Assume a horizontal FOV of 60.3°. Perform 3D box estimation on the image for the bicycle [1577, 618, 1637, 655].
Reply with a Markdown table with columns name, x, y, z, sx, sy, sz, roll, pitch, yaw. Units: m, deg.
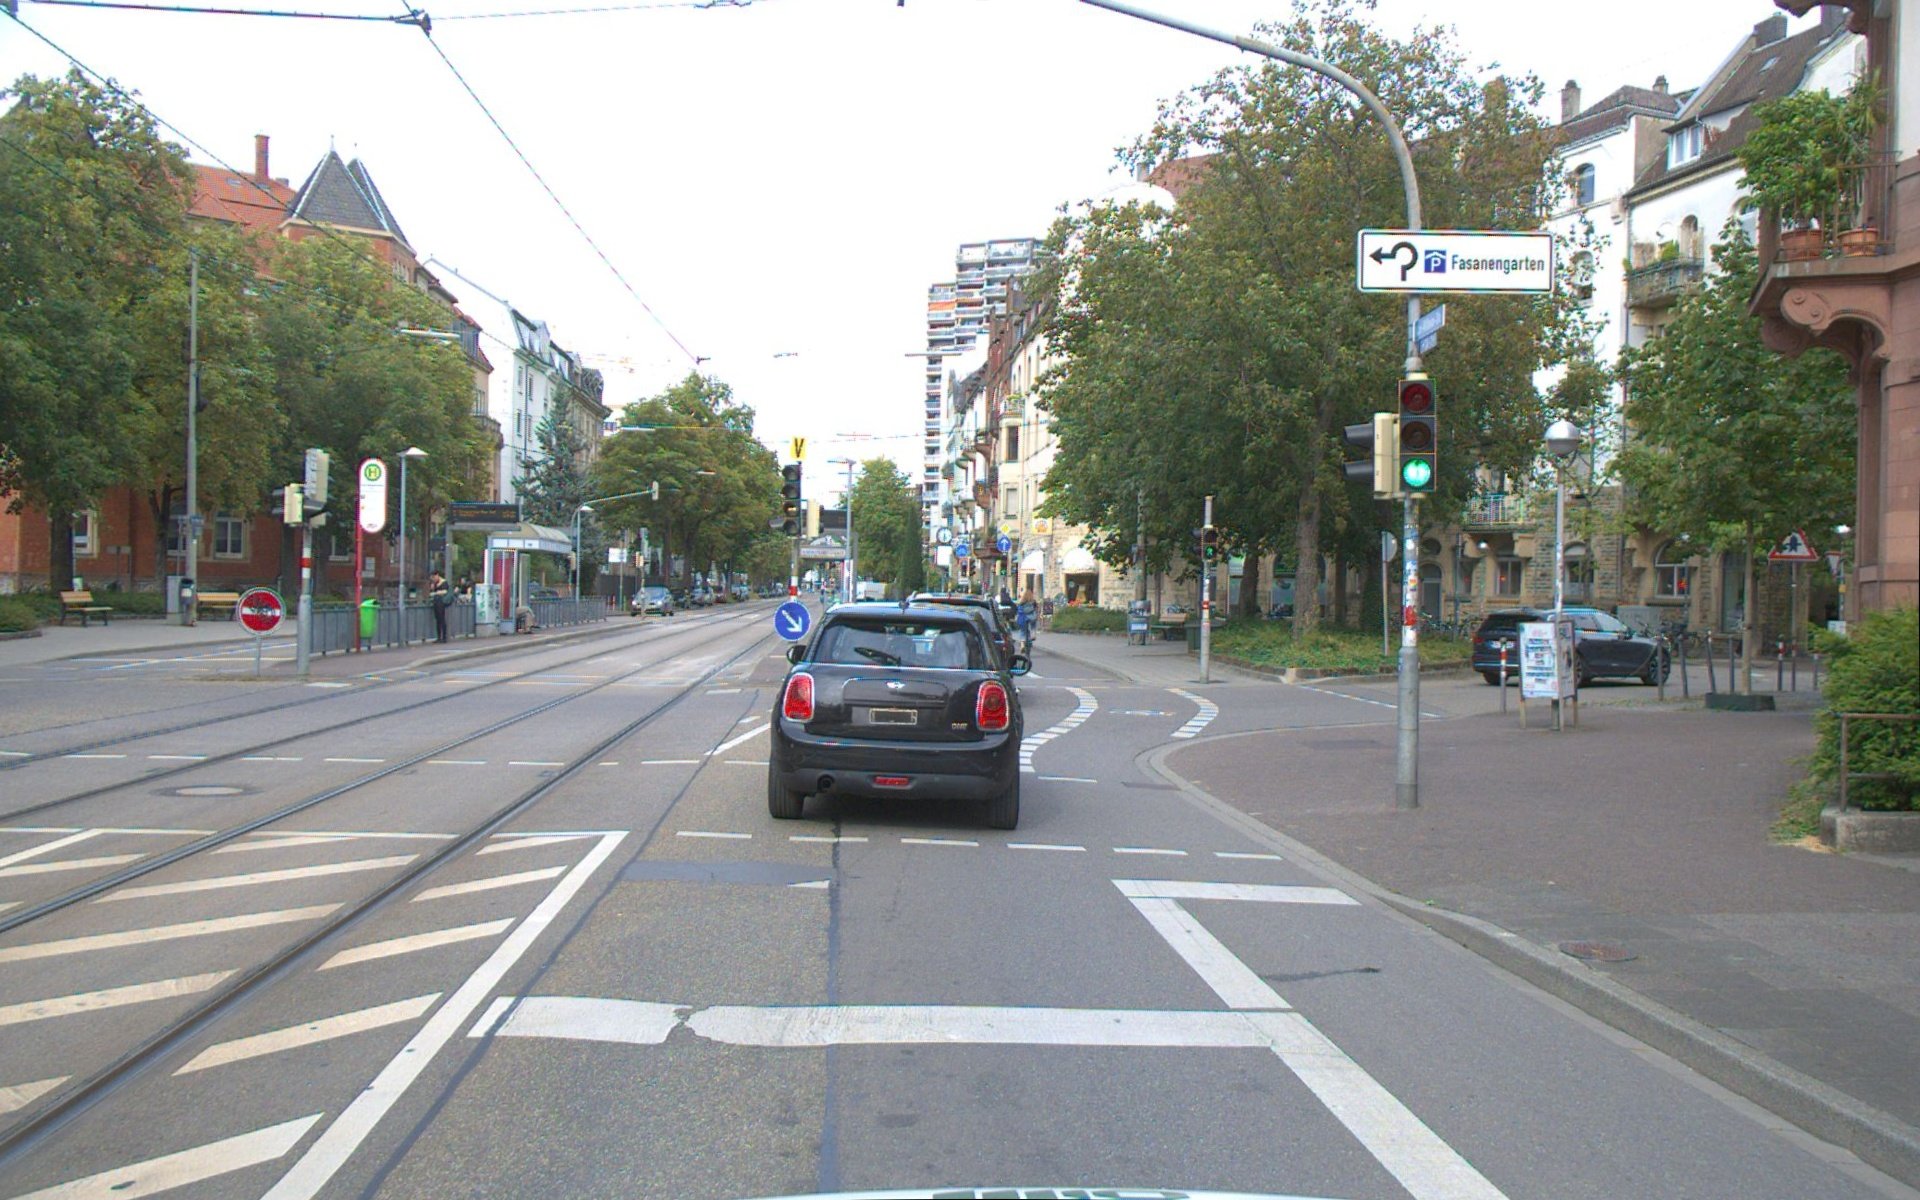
| name | x | y | z | sx | sy | sz | roll | pitch | yaw |
| --- | --- | --- | --- | --- | --- | --- | --- | --- | --- |
| bicycle | 20.908 | 1.174 | 53.460 | 1.856 | 1.147 | 0.530 | 1 | 0 | -16 |

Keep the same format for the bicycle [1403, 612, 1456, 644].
| name | x | y | z | sx | sy | sz | roll | pitch | yaw |
| --- | --- | --- | --- | --- | --- | --- | --- | --- | --- |
| bicycle | 17.526 | 1.039 | 61.767 | 1.855 | 1.147 | 0.597 | 1 | 0 | -13 |

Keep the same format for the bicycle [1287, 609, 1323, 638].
| name | x | y | z | sx | sy | sz | roll | pitch | yaw |
| --- | --- | --- | --- | --- | --- | --- | --- | --- | --- |
| bicycle | 13.891 | 0.935 | 66.506 | 0.654 | 1.147 | 1.885 | 1 | 0 | 38 |

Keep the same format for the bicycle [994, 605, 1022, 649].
| name | x | y | z | sx | sy | sz | roll | pitch | yaw |
| --- | --- | --- | --- | --- | --- | --- | --- | --- | --- |
| bicycle | 1.332 | 0.747 | 46.524 | 0.670 | 1.190 | 1.696 | 1 | 0 | -2 |

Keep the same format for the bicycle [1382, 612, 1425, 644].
| name | x | y | z | sx | sy | sz | roll | pitch | yaw |
| --- | --- | --- | --- | --- | --- | --- | --- | --- | --- |
| bicycle | 16.897 | 1.060 | 63.021 | 1.872 | 1.147 | 0.526 | -1 | 1 | -35 |

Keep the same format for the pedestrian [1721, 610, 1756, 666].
| name | x | y | z | sx | sy | sz | roll | pitch | yaw |
| --- | --- | --- | --- | --- | --- | --- | --- | --- | --- |
| pedestrian | 23.723 | 1.155 | 50.419 | 0.815 | 1.651 | 0.733 | 1 | 0 | 16 |

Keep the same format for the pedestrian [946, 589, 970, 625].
| name | x | y | z | sx | sy | sz | roll | pitch | yaw |
| --- | --- | --- | --- | --- | --- | --- | --- | --- | --- |
| pedestrian | -0.103 | 0.337 | 80.960 | 0.720 | 1.703 | 0.830 | -2 | 1 | 42 |

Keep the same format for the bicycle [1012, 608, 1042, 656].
| name | x | y | z | sx | sy | sz | roll | pitch | yaw |
| --- | --- | --- | --- | --- | --- | --- | --- | --- | --- |
| bicycle | 1.726 | 0.804 | 42.592 | 0.586 | 1.190 | 1.695 | 1 | 0 | -4 |

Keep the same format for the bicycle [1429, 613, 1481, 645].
| name | x | y | z | sx | sy | sz | roll | pitch | yaw |
| --- | --- | --- | --- | --- | --- | --- | --- | --- | --- |
| bicycle | 18.182 | 1.058 | 60.749 | 1.860 | 1.147 | 0.579 | 1 | 0 | -21 |

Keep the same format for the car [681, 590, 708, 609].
| name | x | y | z | sx | sy | sz | roll | pitch | yaw |
| --- | --- | --- | --- | --- | --- | --- | --- | --- | --- |
| car | -20.447 | -0.072 | 127.593 | 1.732 | 1.420 | 3.996 | 1 | 0 | -5 |

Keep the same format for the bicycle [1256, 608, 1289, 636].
| name | x | y | z | sx | sy | sz | roll | pitch | yaw |
| --- | --- | --- | --- | --- | --- | --- | --- | --- | --- |
| bicycle | 12.786 | 0.898 | 67.648 | 0.522 | 1.147 | 1.885 | 1 | 0 | 38 |

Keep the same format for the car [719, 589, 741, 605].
| name | x | y | z | sx | sy | sz | roll | pitch | yaw |
| --- | --- | --- | --- | --- | --- | --- | --- | --- | --- |
| car | -24.632 | -0.341 | 177.072 | 1.954 | 1.579 | 3.997 | 1 | 0 | -4 |

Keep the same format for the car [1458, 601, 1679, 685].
| name | x | y | z | sx | sy | sz | roll | pitch | yaw |
| --- | --- | --- | --- | --- | --- | --- | --- | --- | --- |
| car | 11.588 | 0.801 | 31.384 | 4.427 | 1.466 | 1.736 | 1 | 0 | -35 |

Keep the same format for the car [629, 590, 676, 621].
| name | x | y | z | sx | sy | sz | roll | pitch | yaw |
| --- | --- | --- | --- | --- | --- | --- | --- | --- | --- |
| car | -15.573 | 0.255 | 83.910 | 1.717 | 1.466 | 3.998 | 3 | 0 | -2 |

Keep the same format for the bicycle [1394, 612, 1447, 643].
| name | x | y | z | sx | sy | sz | roll | pitch | yaw |
| --- | --- | --- | --- | --- | --- | --- | --- | --- | --- |
| bicycle | 17.348 | 1.034 | 62.341 | 1.855 | 1.147 | 0.561 | 1 | 0 | -13 |

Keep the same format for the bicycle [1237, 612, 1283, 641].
| name | x | y | z | sx | sy | sz | roll | pitch | yaw |
| --- | --- | --- | --- | --- | --- | --- | --- | --- | --- |
| bicycle | 11.811 | 1.039 | 65.189 | 0.612 | 1.095 | 1.792 | 1 | 0 | -43 |

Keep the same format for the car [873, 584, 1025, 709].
| name | x | y | z | sx | sy | sz | roll | pitch | yaw |
| --- | --- | --- | --- | --- | --- | --- | --- | --- | --- |
| car | -0.136 | 0.573 | 22.688 | 1.887 | 1.536 | 4.000 | 1 | 0 | 0 |

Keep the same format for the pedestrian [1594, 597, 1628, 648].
| name | x | y | z | sx | sy | sz | roll | pitch | yaw |
| --- | --- | --- | --- | --- | --- | --- | --- | --- | --- |
| pedestrian | 22.235 | 0.756 | 56.489 | 0.717 | 1.705 | 0.833 | 1 | 0 | -11 |

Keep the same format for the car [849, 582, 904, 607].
| name | x | y | z | sx | sy | sz | roll | pitch | yaw |
| --- | --- | --- | --- | --- | --- | --- | --- | --- | --- |
| car | -8.113 | -0.499 | 160.851 | 5.002 | 2.312 | 2.358 | 1 | 0 | -45 |

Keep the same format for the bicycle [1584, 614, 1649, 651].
| name | x | y | z | sx | sy | sz | roll | pitch | yaw |
| --- | --- | --- | --- | --- | --- | --- | --- | --- | --- |
| bicycle | 20.859 | 1.025 | 52.551 | 1.848 | 1.147 | 0.533 | 1 | 0 | 1 |

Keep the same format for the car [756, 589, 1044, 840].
| name | x | y | z | sx | sy | sz | roll | pitch | yaw |
| --- | --- | --- | --- | --- | --- | --- | --- | --- | --- |
| car | -0.357 | 0.705 | 12.216 | 1.716 | 1.466 | 4.000 | 3 | 0 | 0 |

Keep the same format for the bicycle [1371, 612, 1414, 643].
| name | x | y | z | sx | sy | sz | roll | pitch | yaw |
| --- | --- | --- | --- | --- | --- | --- | --- | --- | --- |
| bicycle | 16.611 | 1.059 | 63.486 | 1.872 | 1.147 | 0.526 | 0 | 1 | -35 |

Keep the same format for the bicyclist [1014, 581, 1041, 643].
| name | x | y | z | sx | sy | sz | roll | pitch | yaw |
| --- | --- | --- | --- | --- | --- | --- | --- | --- | --- |
| bicyclist | 1.730 | 0.302 | 42.588 | 0.582 | 1.577 | 1.013 | 1 | 0 | -4 |

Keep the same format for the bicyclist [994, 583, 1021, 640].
| name | x | y | z | sx | sy | sz | roll | pitch | yaw |
| --- | --- | --- | --- | --- | --- | --- | --- | --- | --- |
| bicyclist | 1.338 | 0.321 | 46.470 | 0.670 | 1.591 | 0.998 | 1 | 0 | -2 |

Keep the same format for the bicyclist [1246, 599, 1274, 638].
| name | x | y | z | sx | sy | sz | roll | pitch | yaw |
| --- | --- | --- | --- | --- | --- | --- | --- | --- | --- |
| bicyclist | 11.829 | 0.725 | 65.181 | 0.612 | 1.498 | 0.900 | 1 | 0 | -44 |

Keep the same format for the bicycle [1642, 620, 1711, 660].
| name | x | y | z | sx | sy | sz | roll | pitch | yaw |
| --- | --- | --- | --- | --- | --- | --- | --- | --- | --- |
| bicycle | 21.460 | 1.195 | 49.547 | 1.850 | 1.147 | 0.532 | 1 | 0 | -3 |

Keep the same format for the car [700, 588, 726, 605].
| name | x | y | z | sx | sy | sz | roll | pitch | yaw |
| --- | --- | --- | --- | --- | --- | --- | --- | --- | --- |
| car | -23.016 | -0.340 | 154.176 | 1.954 | 1.579 | 3.997 | 1 | 0 | -4 |

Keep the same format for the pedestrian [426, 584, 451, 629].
| name | x | y | z | sx | sy | sz | roll | pitch | yaw |
| --- | --- | --- | --- | --- | --- | --- | --- | --- | --- |
| pedestrian | -20.215 | 0.240 | 64.119 | 0.817 | 1.733 | 0.731 | 1 | 0 | -9 |

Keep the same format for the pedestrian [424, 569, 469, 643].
| name | x | y | z | sx | sy | sz | roll | pitch | yaw |
| --- | --- | --- | --- | --- | --- | --- | --- | --- | --- |
| pedestrian | -11.680 | 0.135 | 37.630 | 0.836 | 1.649 | 0.841 | 1 | 0 | -9 |

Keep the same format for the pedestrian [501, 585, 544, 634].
| name | x | y | z | sx | sy | sz | roll | pitch | yaw |
| --- | --- | --- | --- | --- | --- | --- | --- | --- | --- |
| pedestrian | -12.059 | 0.266 | 45.593 | 1.039 | 1.316 | 0.984 | 1 | 0 | -9 |

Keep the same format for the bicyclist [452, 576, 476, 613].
| name | x | y | z | sx | sy | sz | roll | pitch | yaw |
| --- | --- | --- | --- | --- | --- | --- | --- | --- | --- |
| bicyclist | -18.615 | -0.206 | 62.077 | 0.647 | 1.363 | 0.835 | 1 | 0 | -4 |
